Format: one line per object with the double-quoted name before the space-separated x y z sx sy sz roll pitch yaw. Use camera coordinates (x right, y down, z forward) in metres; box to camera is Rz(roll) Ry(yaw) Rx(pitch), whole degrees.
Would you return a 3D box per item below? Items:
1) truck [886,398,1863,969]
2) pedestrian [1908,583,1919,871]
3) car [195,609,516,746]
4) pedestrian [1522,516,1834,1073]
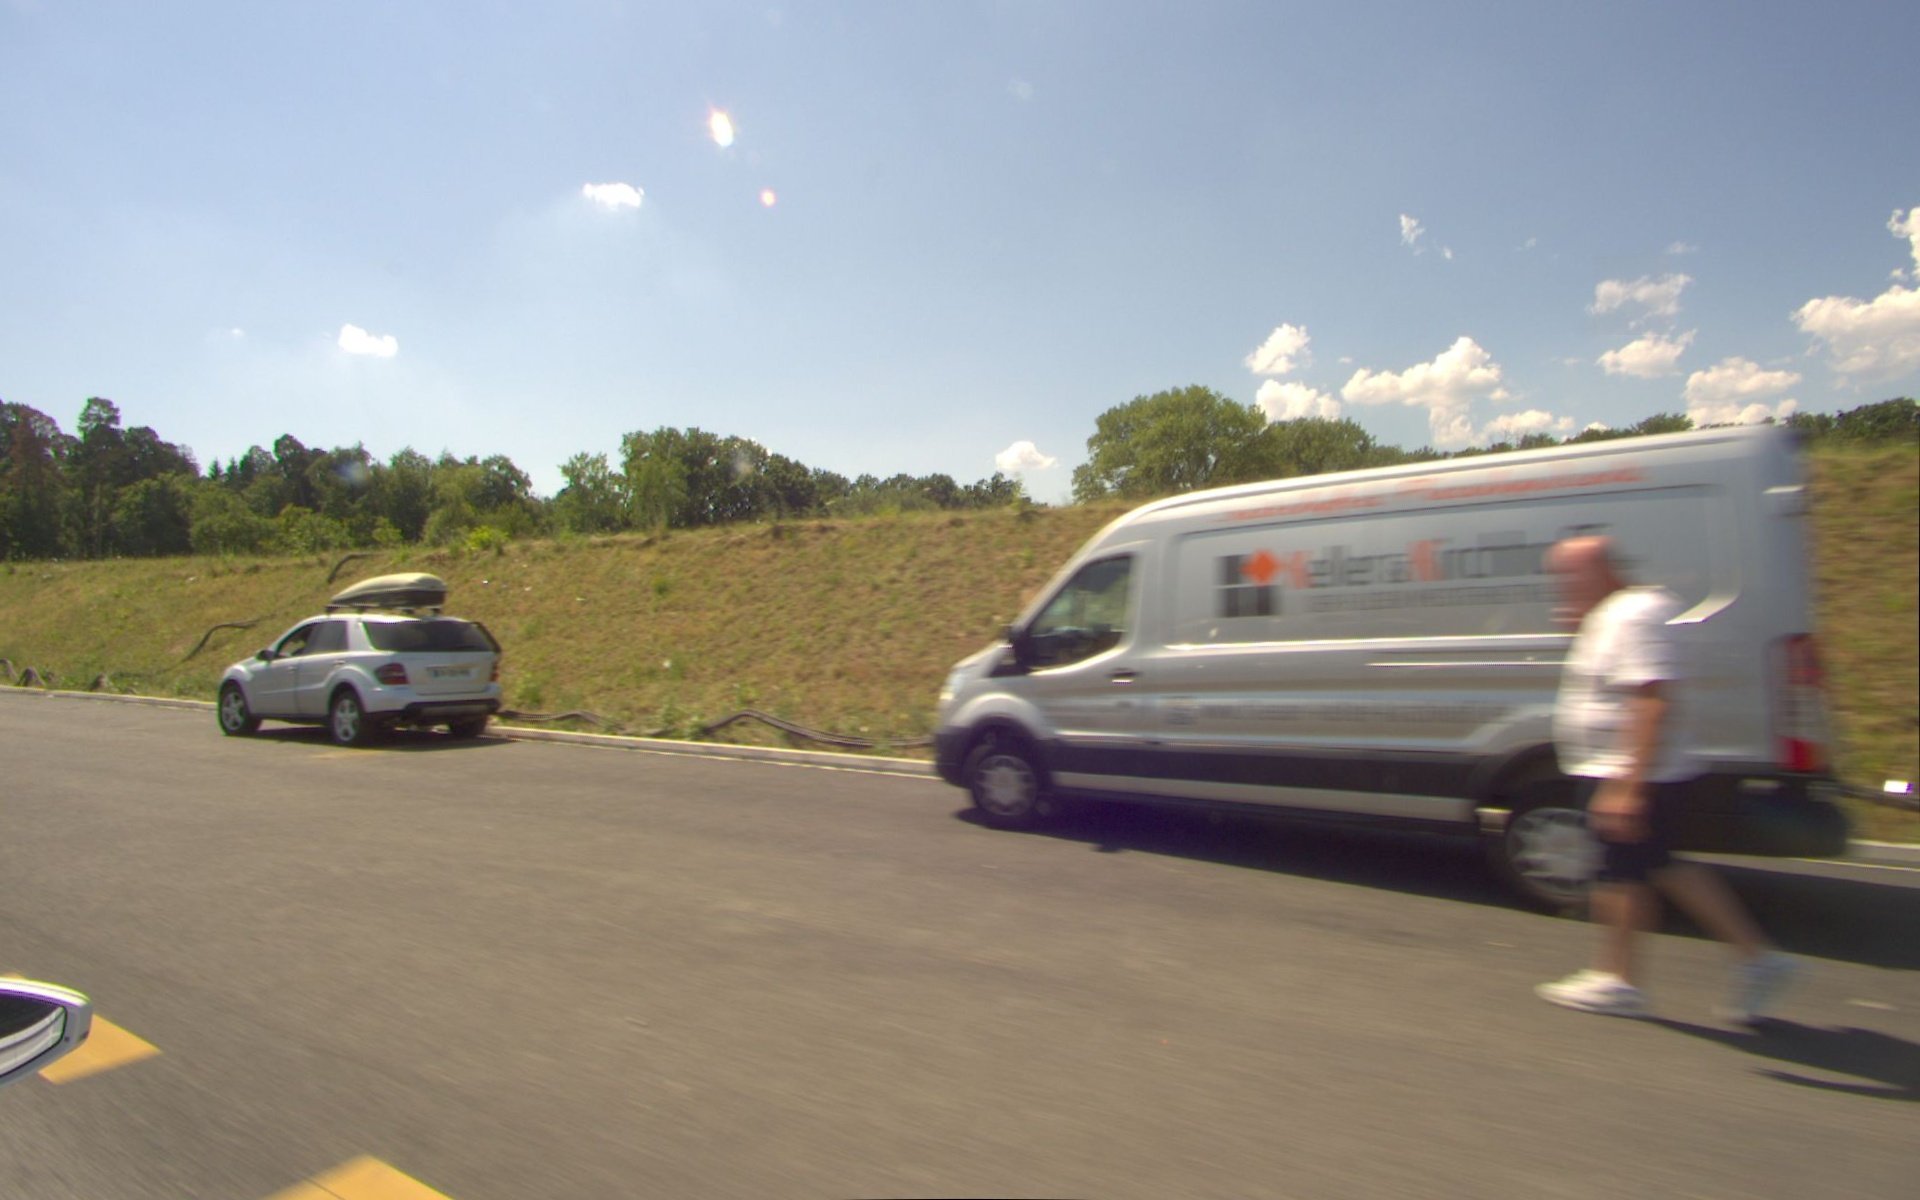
"truck" 2.332 0.443 7.060 5.854 2.488 2.121 -1 -2 39
"pedestrian" 6.222 0.789 5.973 0.657 1.818 0.563 -2 -2 31
"car" -8.774 1.019 14.435 4.780 1.698 1.774 0 -2 29
"pedestrian" 2.644 0.665 3.790 0.707 1.851 0.725 -1 -2 16
